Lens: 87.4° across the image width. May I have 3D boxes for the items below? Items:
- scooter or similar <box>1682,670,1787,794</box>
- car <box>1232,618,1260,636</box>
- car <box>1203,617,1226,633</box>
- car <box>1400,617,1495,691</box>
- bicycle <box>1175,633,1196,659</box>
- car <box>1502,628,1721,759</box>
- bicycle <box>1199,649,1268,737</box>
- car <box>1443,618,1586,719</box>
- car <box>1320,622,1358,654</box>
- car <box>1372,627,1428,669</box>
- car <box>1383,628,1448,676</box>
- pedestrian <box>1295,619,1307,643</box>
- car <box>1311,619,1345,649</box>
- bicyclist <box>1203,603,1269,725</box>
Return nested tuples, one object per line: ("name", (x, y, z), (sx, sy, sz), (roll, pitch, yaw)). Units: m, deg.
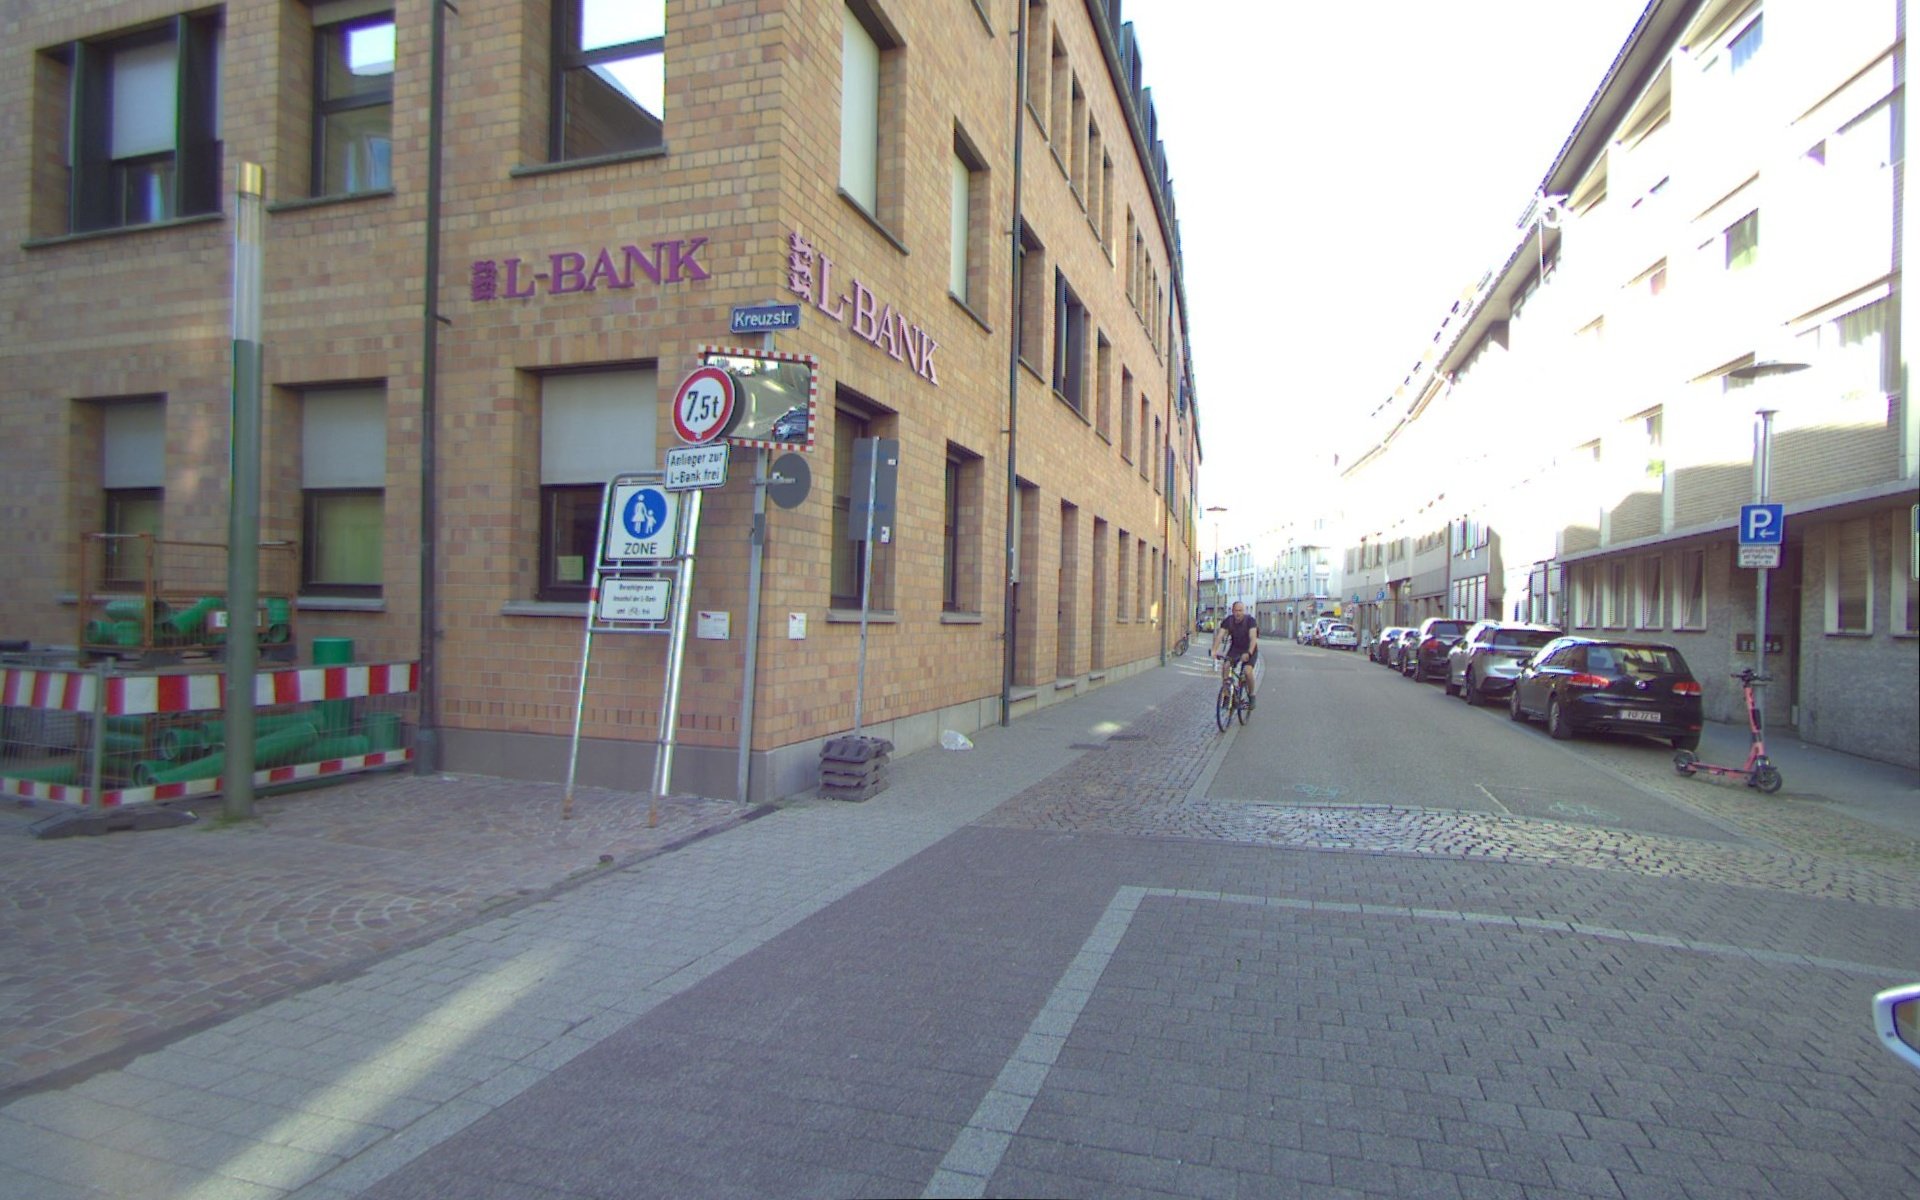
("scooter or similar", (8.156, 1.366, 10.600), (0.205, 1.199, 0.878), (2, 0, -21))
("car", (28.868, 2.701, 101.479), (1.897, 1.673, 3.838), (2, 0, 4))
("car", (29.850, 2.915, 117.788), (1.897, 1.673, 3.838), (3, 0, 4))
("car", (13.051, 1.399, 27.104), (1.640, 1.727, 4.014), (4, 0, 18))
("bicycle", (8.796, 1.775, 39.100), (0.630, 0.893, 2.558), (3, 0, 15))
("car", (9.499, 1.259, 14.986), (1.706, 1.506, 3.812), (4, 1, 18))
("bicycle", (3.930, 1.290, 14.348), (0.691, 1.118, 1.827), (-2, -2, 22))
("car", (10.926, 1.279, 20.088), (1.640, 1.683, 4.082), (4, 0, 18))
("car", (22.322, 2.215, 59.233), (1.660, 1.701, 3.509), (4, 0, 16))
("car", (16.692, 1.781, 38.245), (1.490, 1.409, 3.626), (4, 0, 18))
("car", (15.260, 1.702, 33.813), (1.490, 1.409, 3.626), (4, 0, 18))
("pedestrian", (22.420, 2.038, 65.990), (0.560, 1.498, 0.474), (5, 0, 11))
("car", (23.743, 2.168, 64.930), (1.660, 1.798, 3.657), (4, 0, 16))
("bicyclist", (3.955, 0.896, 14.351), (0.758, 1.677, 0.956), (-1, -1, 23))
